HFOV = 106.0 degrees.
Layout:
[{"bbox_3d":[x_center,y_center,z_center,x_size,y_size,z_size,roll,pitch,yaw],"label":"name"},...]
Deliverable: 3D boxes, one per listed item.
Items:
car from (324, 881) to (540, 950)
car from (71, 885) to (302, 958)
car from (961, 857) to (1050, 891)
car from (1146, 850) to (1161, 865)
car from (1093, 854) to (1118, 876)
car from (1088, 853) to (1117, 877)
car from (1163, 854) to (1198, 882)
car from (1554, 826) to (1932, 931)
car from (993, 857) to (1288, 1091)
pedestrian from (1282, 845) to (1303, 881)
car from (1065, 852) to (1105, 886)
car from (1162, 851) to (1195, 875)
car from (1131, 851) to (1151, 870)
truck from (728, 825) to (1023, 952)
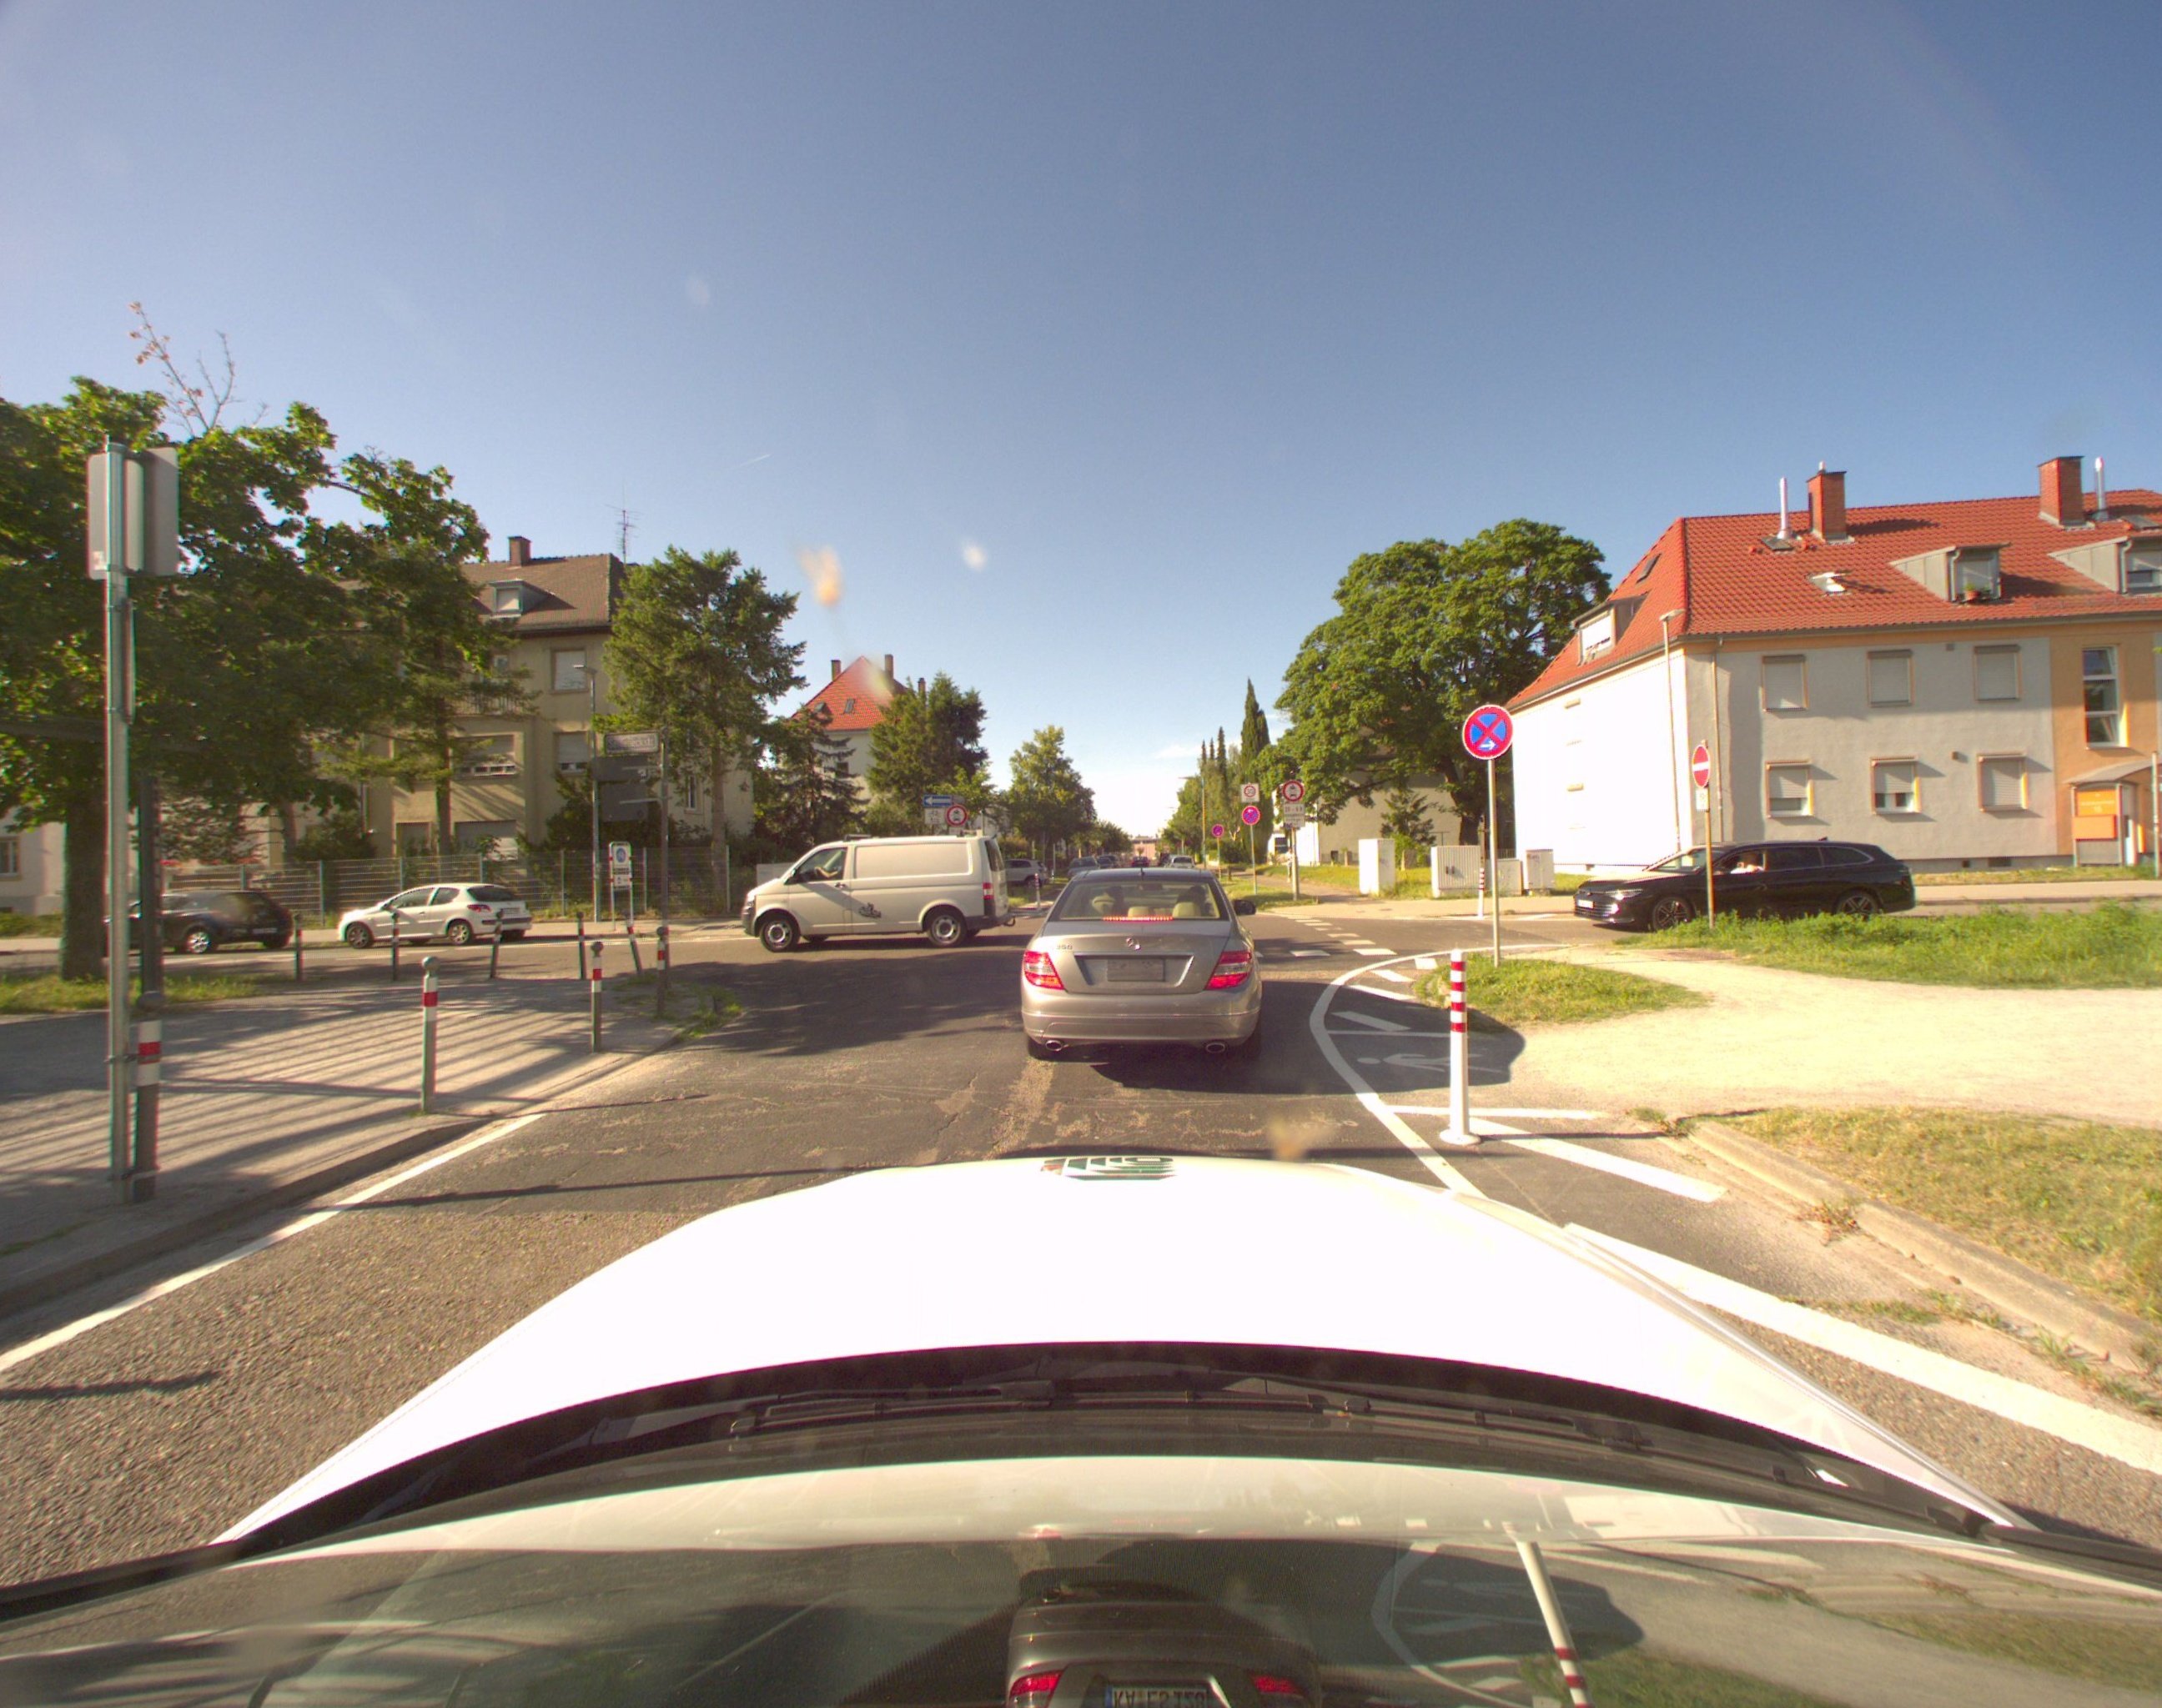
[{"bbox_3d":[-15.115,1.413,19.082,3.747,1.398,1.709,-2,-1,4],"label":"car"},{"bbox_3d":[-21.095,1.575,19.295,3.796,1.495,1.679,-2,-1,4],"label":"car"},{"bbox_3d":[-3.734,0.996,40.722,4.177,1.564,1.843,-1,0,1],"label":"car"},{"bbox_3d":[9.175,0.462,103.205,1.846,1.841,4.004,-2,0,4],"label":"car"},{"bbox_3d":[2.112,0.907,69.191,1.986,1.609,4.003,-5,0,2],"label":"car"},{"bbox_3d":[1.696,0.829,63.405,1.986,1.609,4.003,-5,0,2],"label":"car"},{"bbox_3d":[5.765,0.787,47.545,1.726,1.480,3.728,-2,0,3],"label":"car"},{"bbox_3d":[11.159,0.406,14.092,4.714,1.524,2.004,-2,0,7],"label":"car"},{"bbox_3d":[0.562,0.770,7.125,1.827,1.441,4.006,-1,0,6],"label":"car"},{"bbox_3d":[9.567,0.411,36.834,0.761,1.611,0.836,-2,0,9],"label":"pedestrian"},{"bbox_3d":[0.276,0.808,45.629,1.986,1.609,4.003,-5,0,2],"label":"car"},{"bbox_3d":[6.919,0.613,58.275,1.985,1.609,4.003,-2,0,3],"label":"car"},{"bbox_3d":[5.408,0.600,73.718,1.591,1.609,3.646,-2,0,3],"label":"car"},{"bbox_3d":[-3.679,0.604,15.149,4.836,2.036,2.002,-2,0,4],"label":"truck"}]
